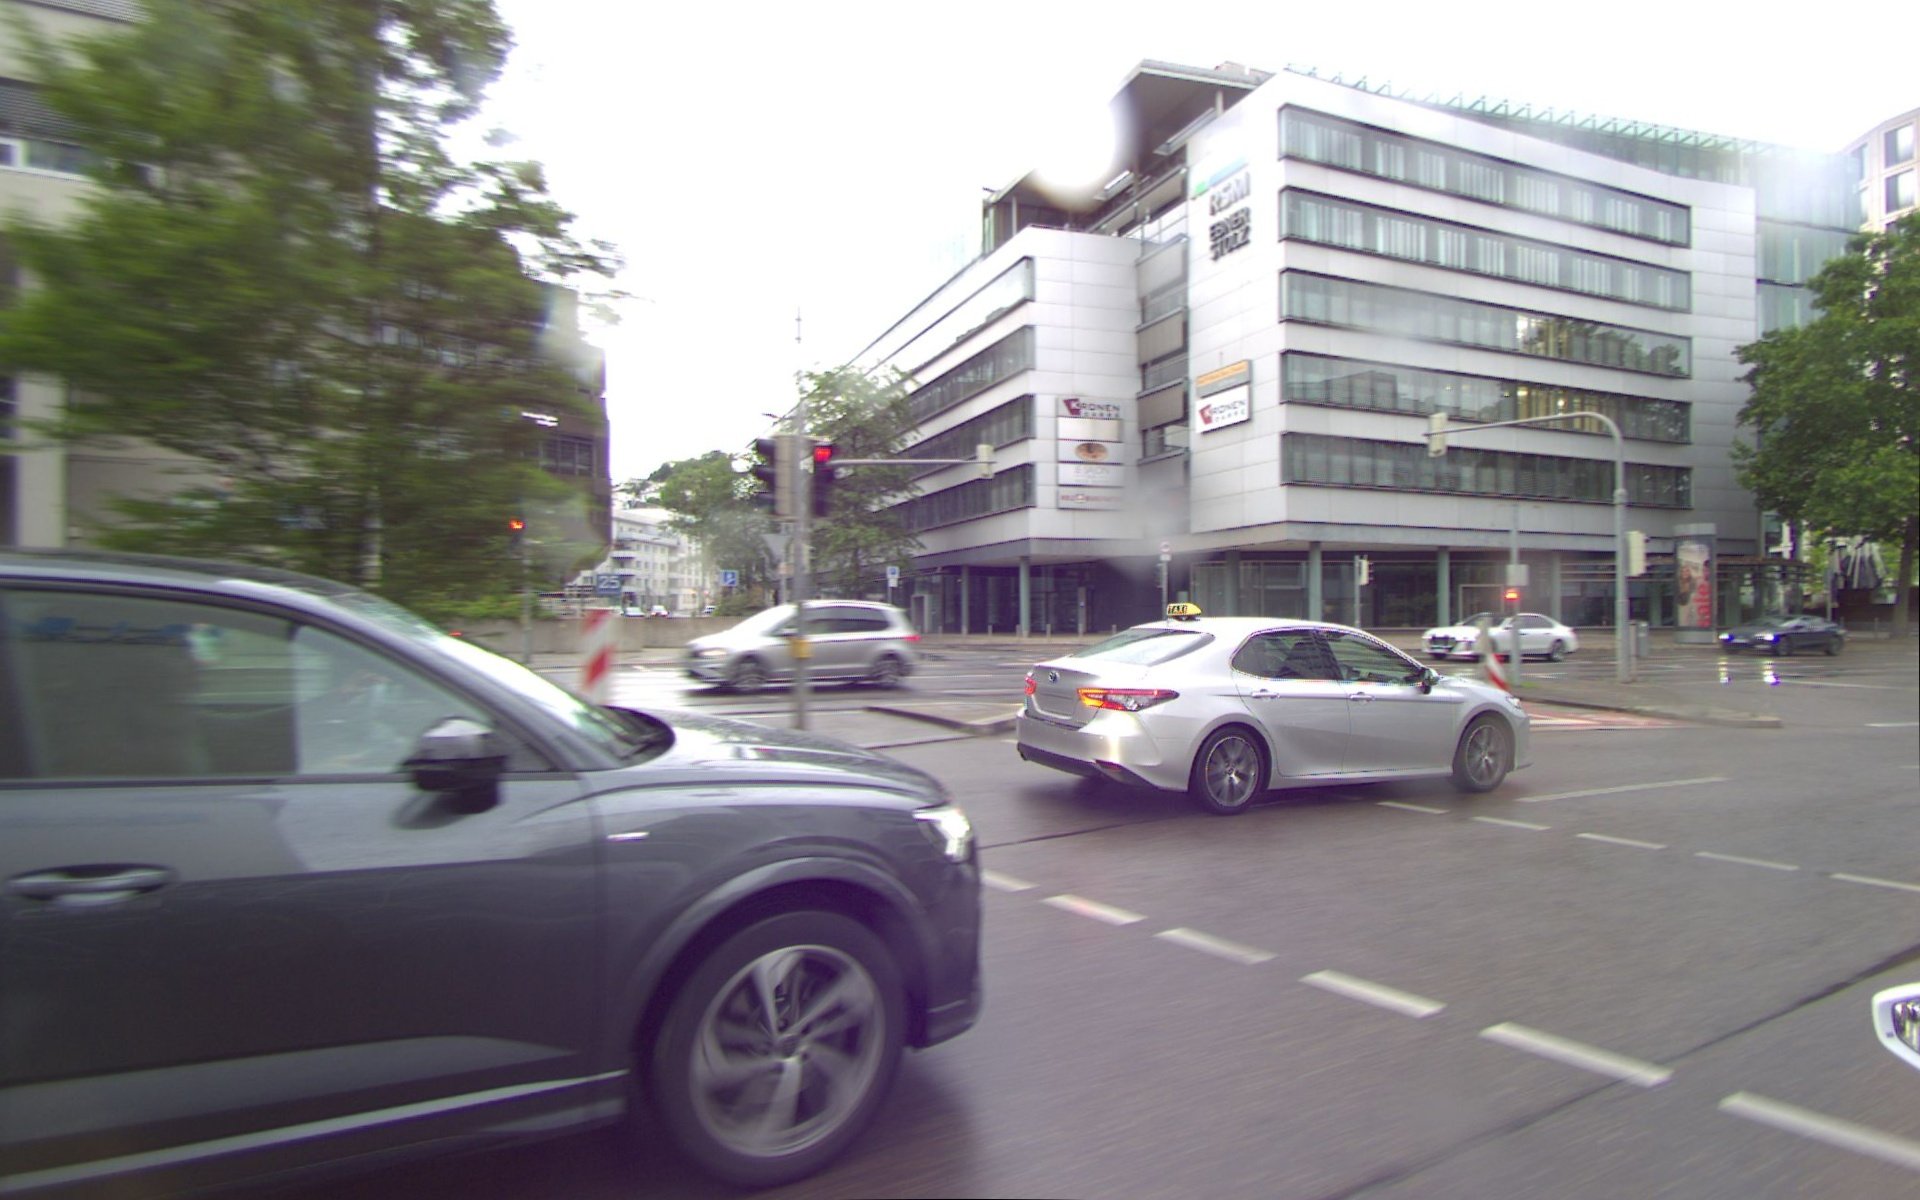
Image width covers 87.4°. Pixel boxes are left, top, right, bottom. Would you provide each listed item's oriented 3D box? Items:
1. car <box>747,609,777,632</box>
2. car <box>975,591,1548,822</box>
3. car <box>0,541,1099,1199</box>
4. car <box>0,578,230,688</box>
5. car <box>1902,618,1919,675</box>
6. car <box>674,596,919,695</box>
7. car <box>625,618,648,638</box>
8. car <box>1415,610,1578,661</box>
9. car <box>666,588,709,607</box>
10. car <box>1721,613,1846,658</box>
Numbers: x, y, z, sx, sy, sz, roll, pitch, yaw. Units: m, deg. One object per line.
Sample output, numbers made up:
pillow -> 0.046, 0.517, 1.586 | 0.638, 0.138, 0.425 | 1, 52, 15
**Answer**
car -> -15.783, 1.608, 79.977 | 1.678, 1.672, 3.889 | 2, -1, -22
car -> 2.653, 0.773, 8.637 | 4.714, 1.554, 1.859 | 2, 0, -26
car -> -1.816, 0.669, 2.565 | 4.224, 1.542, 1.639 | 2, 0, -32
car -> -13.749, 0.496, 15.632 | 3.678, 1.592, 1.629 | 3, -1, -32
car -> 26.306, 1.198, 25.760 | 3.849, 1.456, 1.629 | 1, -1, -21
car -> -2.901, 0.788, 18.078 | 4.039, 1.602, 1.635 | 2, 0, -31
car -> -29.776, 2.590, 92.331 | 1.757, 1.650, 3.980 | 2, -1, -21
car -> 17.219, 1.114, 32.213 | 5.120, 1.530, 1.810 | 1, -1, -23
car -> -28.324, -0.270, 104.348 | 3.948, 1.807, 1.896 | 3, 0, -26
car -> 30.829, 1.308, 37.595 | 4.524, 1.580, 1.629 | 1, -1, -21
